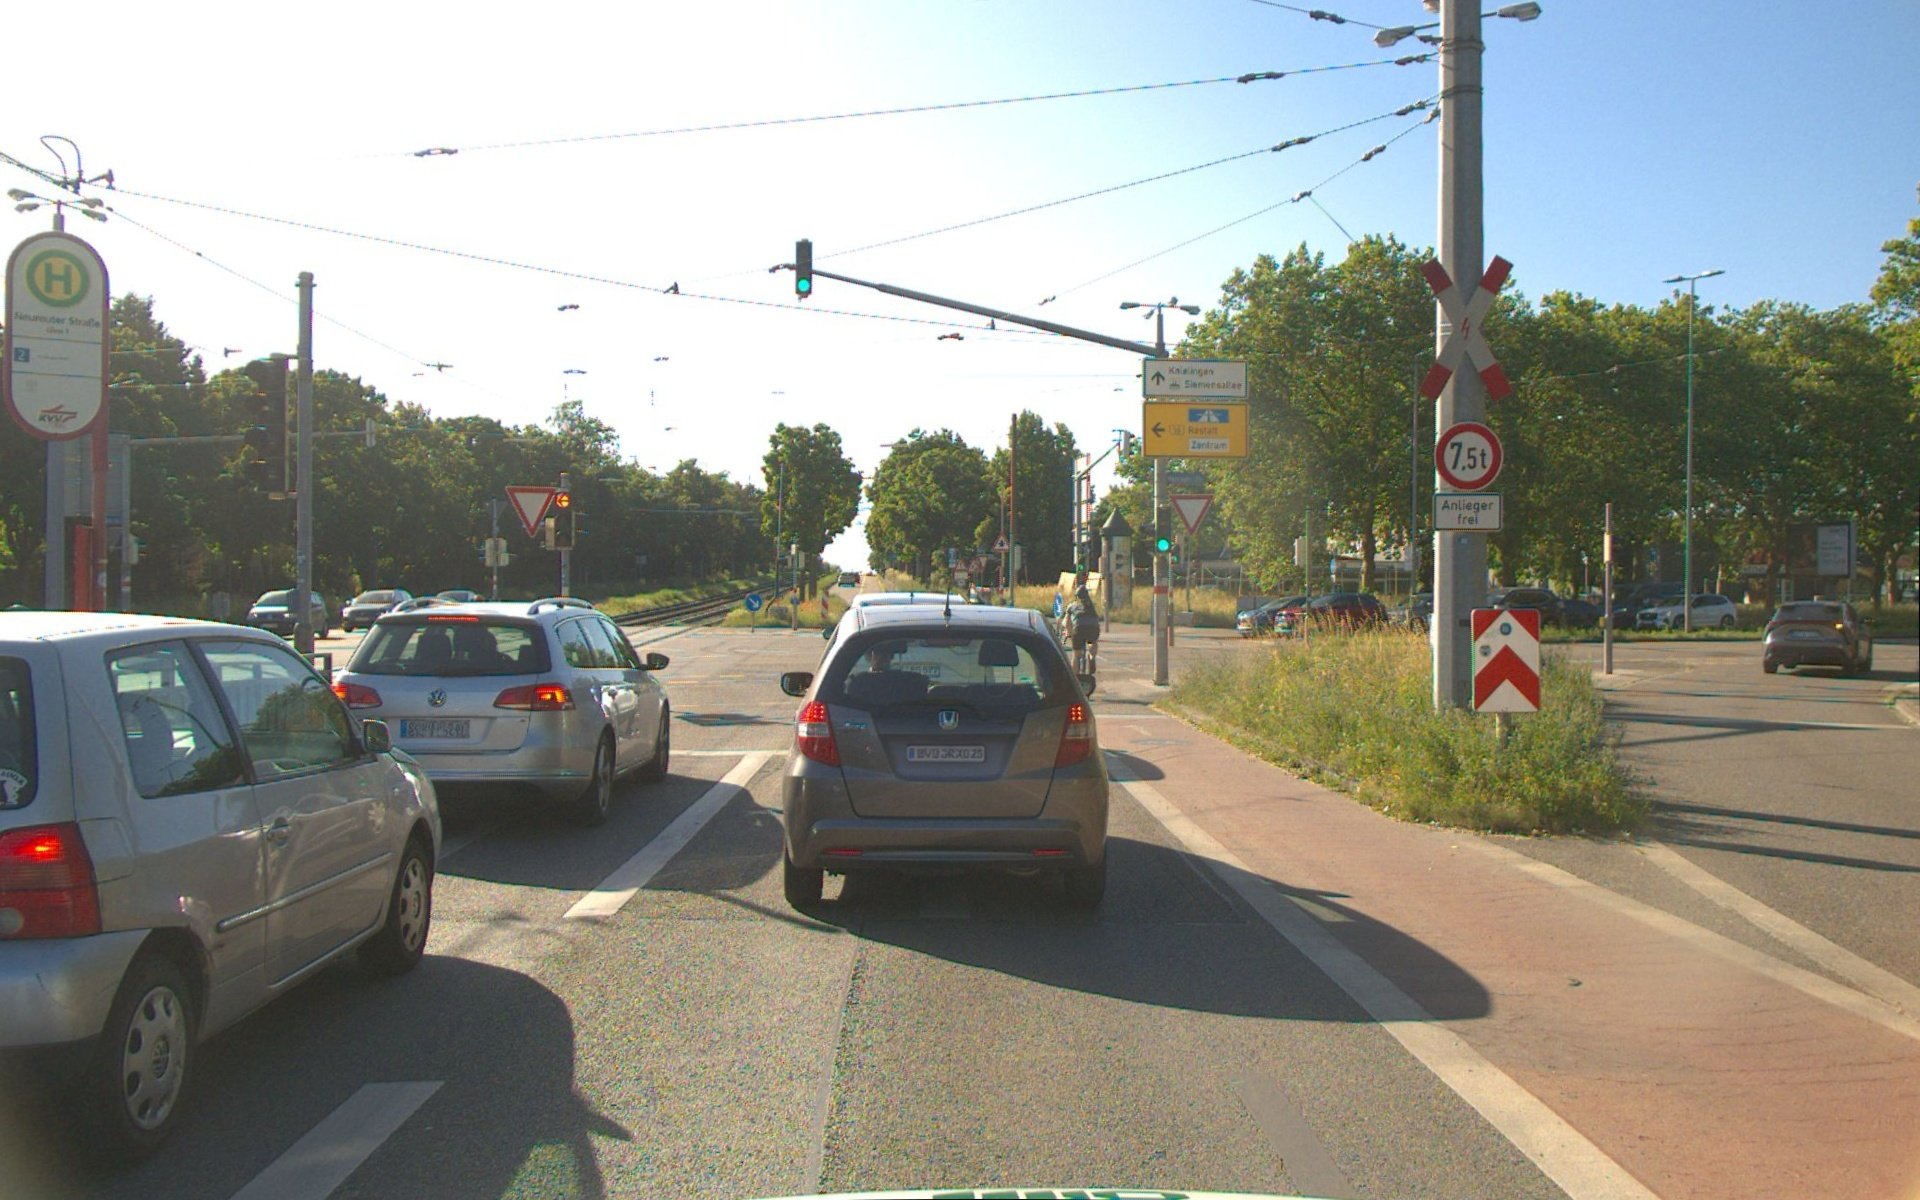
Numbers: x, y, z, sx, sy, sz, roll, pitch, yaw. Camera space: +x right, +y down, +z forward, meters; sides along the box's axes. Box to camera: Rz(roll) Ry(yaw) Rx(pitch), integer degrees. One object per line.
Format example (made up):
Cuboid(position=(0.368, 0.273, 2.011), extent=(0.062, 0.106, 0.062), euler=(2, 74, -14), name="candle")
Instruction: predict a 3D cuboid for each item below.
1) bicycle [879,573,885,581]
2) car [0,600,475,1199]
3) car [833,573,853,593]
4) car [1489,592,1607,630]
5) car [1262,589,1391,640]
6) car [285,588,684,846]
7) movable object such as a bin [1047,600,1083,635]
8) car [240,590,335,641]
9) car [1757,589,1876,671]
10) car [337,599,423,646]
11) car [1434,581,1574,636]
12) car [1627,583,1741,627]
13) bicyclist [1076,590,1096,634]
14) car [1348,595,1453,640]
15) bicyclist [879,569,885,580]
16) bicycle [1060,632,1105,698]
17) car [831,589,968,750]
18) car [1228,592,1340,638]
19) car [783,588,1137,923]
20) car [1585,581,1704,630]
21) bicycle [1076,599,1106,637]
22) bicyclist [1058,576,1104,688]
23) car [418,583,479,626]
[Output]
Cuboid(position=(-10.729, -3.152, 227.665), extent=(0.801, 1.066, 2.505), euler=(1, -1, -2), name="bicycle")
Cuboid(position=(-2.861, 0.757, 5.591), extent=(1.549, 1.494, 3.413), euler=(0, 0, -2), name="car")
Cuboid(position=(-12.194, -1.735, 173.035), extent=(1.953, 2.049, 3.998), euler=(0, 0, -2), name="car")
Cuboid(position=(23.193, 0.432, 65.252), extent=(4.504, 1.432, 1.916), euler=(0, 0, -29), name="car")
Cuboid(position=(12.354, 0.465, 55.689), extent=(4.026, 1.628, 1.801), euler=(0, 0, -26), name="car")
Cuboid(position=(-3.267, 0.705, 12.298), extent=(1.839, 1.554, 4.419), euler=(0, 0, -2), name="car")
Cuboid(position=(3.373, 0.562, 53.316), extent=(0.892, 1.087, 1.313), euler=(0, 0, -10), name="movable object such as a bin")
Cuboid(position=(-20.514, 0.450, 50.600), extent=(1.650, 1.484, 3.700), euler=(0, 0, -5), name="car")
Cuboid(position=(19.280, 0.636, 37.169), extent=(1.791, 1.734, 3.757), euler=(1, 0, 37), name="car")
Cuboid(position=(-21.255, 0.796, 60.798), extent=(1.777, 1.624, 4.689), euler=(0, 0, -4), name="car")
Cuboid(position=(17.931, 0.268, 54.471), extent=(4.431, 1.741, 1.902), euler=(0, 0, -30), name="car")
Cuboid(position=(29.990, 0.206, 68.499), extent=(4.708, 1.711, 1.891), euler=(1, -1, -29), name="car")
Cuboid(position=(3.947, 0.377, 51.911), extent=(0.500, 1.364, 0.564), euler=(0, 0, -10), name="bicyclist")
Cuboid(position=(16.641, 0.635, 62.456), extent=(3.806, 1.628, 1.696), euler=(0, 0, -30), name="car")
Cuboid(position=(-10.715, -3.523, 227.689), extent=(0.801, 1.551, 0.965), euler=(1, -1, -2), name="bicyclist")
Cuboid(position=(1.908, 0.998, 25.953), extent=(0.513, 0.939, 2.089), euler=(0, 0, -1), name="bicycle")
Cuboid(position=(-0.649, 0.670, 17.667), extent=(1.324, 1.554, 3.122), euler=(0, 0, -2), name="car")
Cuboid(position=(11.730, 0.522, 59.832), extent=(3.806, 1.628, 1.696), euler=(0, 0, -30), name="car")
Cuboid(position=(-0.025, 0.718, 9.511), extent=(1.637, 1.542, 3.673), euler=(0, 0, -1), name="car")
Cuboid(position=(29.953, 0.226, 72.370), extent=(5.043, 2.106, 2.112), euler=(0, 0, -28), name="car")
Cuboid(position=(4.047, 0.551, 51.317), extent=(0.458, 1.138, 1.815), euler=(0, 0, -11), name="bicycle")
Cuboid(position=(1.876, 0.482, 25.716), extent=(0.603, 1.709, 0.933), euler=(0, 0, -2), name="bicyclist")
Cuboid(position=(-21.183, 0.171, 68.603), extent=(1.757, 1.717, 3.994), euler=(0, 0, -8), name="car")
